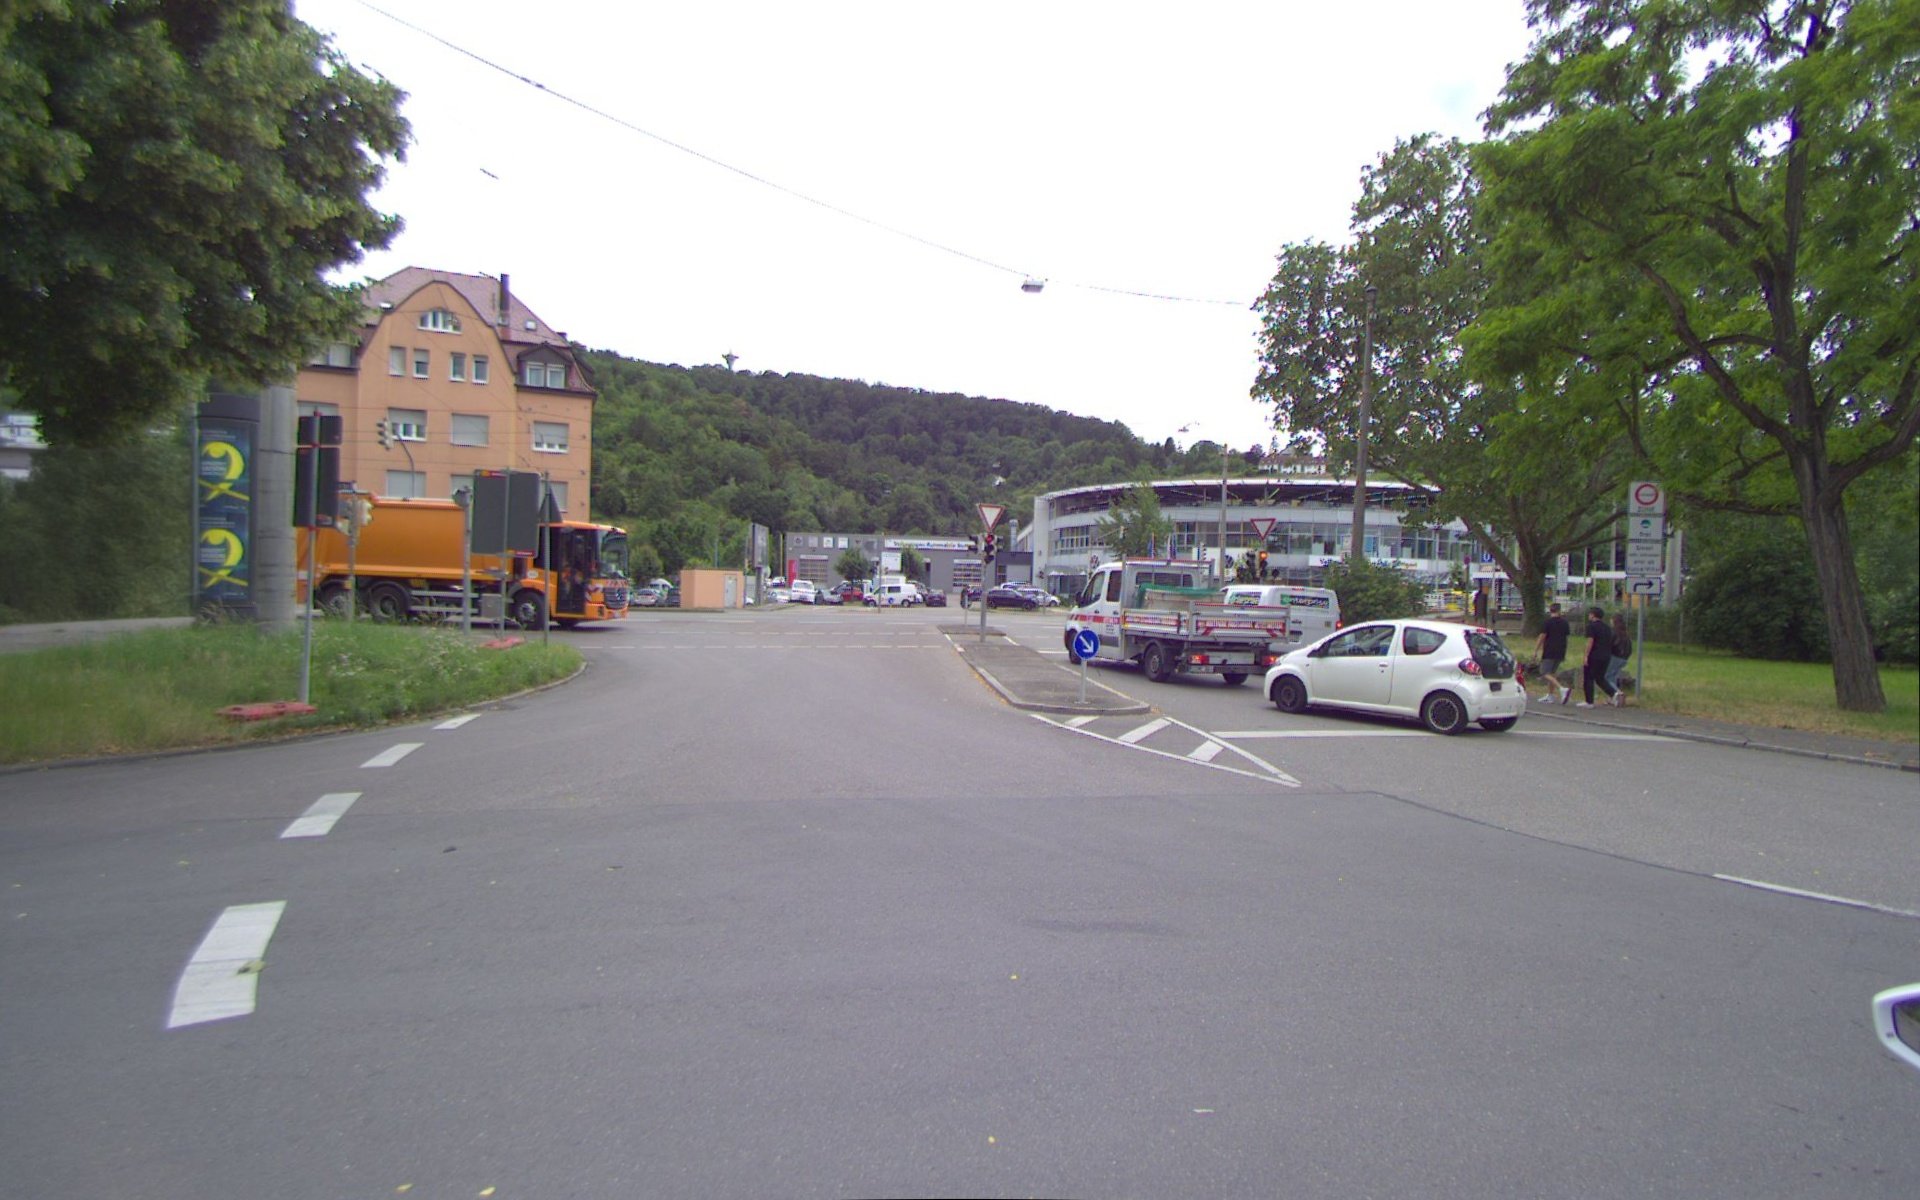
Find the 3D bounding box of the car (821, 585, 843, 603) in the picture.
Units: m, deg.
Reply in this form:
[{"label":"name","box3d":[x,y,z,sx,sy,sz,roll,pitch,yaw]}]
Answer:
[{"label":"car","box3d":[-11.569,-0.526,90.800,1.742,1.554,4.087,2,1,-4]}]

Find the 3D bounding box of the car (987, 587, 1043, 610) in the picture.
[{"label":"car","box3d":[4.037,-0.128,73.485,3.802,1.521,1.776,2,1,12]}]

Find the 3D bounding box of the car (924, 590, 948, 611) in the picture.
[{"label":"car","box3d":[-2.199,0.022,90.458,1.961,1.840,3.998,2,1,-3]}]

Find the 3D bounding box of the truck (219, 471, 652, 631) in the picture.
[{"label":"truck","box3d":[-14.025,-1.288,27.390,10.216,3.574,2.798,3,1,0]}]

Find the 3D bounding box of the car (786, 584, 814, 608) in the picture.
[{"label":"car","box3d":[-12.638,-0.341,79.082,1.834,1.842,4.390,1,1,-13]}]

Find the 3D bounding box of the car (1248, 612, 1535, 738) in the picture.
[{"label":"car","box3d":[6.021,0.954,14.301,1.628,1.452,3.395,1,1,-36]}]

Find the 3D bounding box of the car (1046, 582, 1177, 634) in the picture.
[{"label":"car","box3d":[6.538,0.356,43.403,5.217,2.041,1.965,2,1,-18]}]

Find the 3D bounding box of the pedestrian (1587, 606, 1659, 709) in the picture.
[{"label":"pedestrian","box3d":[11.738,0.999,17.802,0.685,1.763,0.784,1,1,-23]}]

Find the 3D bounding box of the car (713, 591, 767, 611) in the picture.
[{"label":"car","box3d":[-18.199,0.083,83.185,4.153,1.554,1.767,1,1,-20]}]

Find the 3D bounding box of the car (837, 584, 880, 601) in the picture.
[{"label":"car","box3d":[-10.071,-0.751,99.958,4.010,1.554,1.775,2,1,-1]}]

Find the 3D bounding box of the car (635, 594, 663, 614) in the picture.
[{"label":"car","box3d":[-26.609,0.312,86.070,1.751,1.539,3.624,2,1,-9]}]

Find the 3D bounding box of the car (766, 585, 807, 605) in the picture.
[{"label":"car","box3d":[-14.750,-0.408,85.214,1.759,1.554,4.046,1,1,-37]}]

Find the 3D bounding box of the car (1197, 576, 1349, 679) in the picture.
[{"label":"car","box3d":[7.128,0.555,23.454,1.957,2.135,4.760,1,1,-1]}]

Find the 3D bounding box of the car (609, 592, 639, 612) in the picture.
[{"label":"car","box3d":[-28.525,0.183,85.279,1.751,1.539,3.624,2,1,-9]}]

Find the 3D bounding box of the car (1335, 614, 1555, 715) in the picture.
[{"label":"car","box3d":[8.451,1.074,17.811,1.617,1.476,3.419,2,0,-16]}]

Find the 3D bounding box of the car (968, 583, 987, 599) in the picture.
[{"label":"car","box3d":[1.803,-0.972,103.784,1.741,1.554,4.089,2,1,-2]}]

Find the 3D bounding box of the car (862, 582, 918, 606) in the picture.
[{"label":"car","box3d":[-6.055,-0.524,87.179,4.612,1.929,1.775,2,1,0]}]

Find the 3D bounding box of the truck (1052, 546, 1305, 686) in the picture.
[{"label":"truck","box3d":[4.180,0.246,20.670,2.391,2.430,6.004,1,1,-18]}]

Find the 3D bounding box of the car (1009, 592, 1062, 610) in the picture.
[{"label":"car","box3d":[6.990,0.072,93.498,4.718,1.554,1.775,2,1,-2]}]

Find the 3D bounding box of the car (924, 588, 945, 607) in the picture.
[{"label":"car","box3d":[-2.302,-0.239,90.236,1.741,1.554,4.089,2,1,-2]}]

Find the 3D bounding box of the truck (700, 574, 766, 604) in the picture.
[{"label":"truck","box3d":[-19.412,-0.920,85.925,5.144,2.425,1.982,1,1,-33]}]

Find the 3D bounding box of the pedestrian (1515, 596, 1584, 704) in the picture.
[{"label":"pedestrian","box3d":[10.623,0.881,18.112,0.685,1.882,0.784,1,1,-23]}]

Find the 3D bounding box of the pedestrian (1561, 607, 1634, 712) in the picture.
[{"label":"pedestrian","box3d":[11.049,1.012,17.428,0.685,1.737,0.784,1,1,-23]}]

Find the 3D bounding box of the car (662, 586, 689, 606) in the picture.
[{"label":"car","box3d":[-24.185,-0.363,85.569,1.751,1.539,3.624,2,1,-9]}]
